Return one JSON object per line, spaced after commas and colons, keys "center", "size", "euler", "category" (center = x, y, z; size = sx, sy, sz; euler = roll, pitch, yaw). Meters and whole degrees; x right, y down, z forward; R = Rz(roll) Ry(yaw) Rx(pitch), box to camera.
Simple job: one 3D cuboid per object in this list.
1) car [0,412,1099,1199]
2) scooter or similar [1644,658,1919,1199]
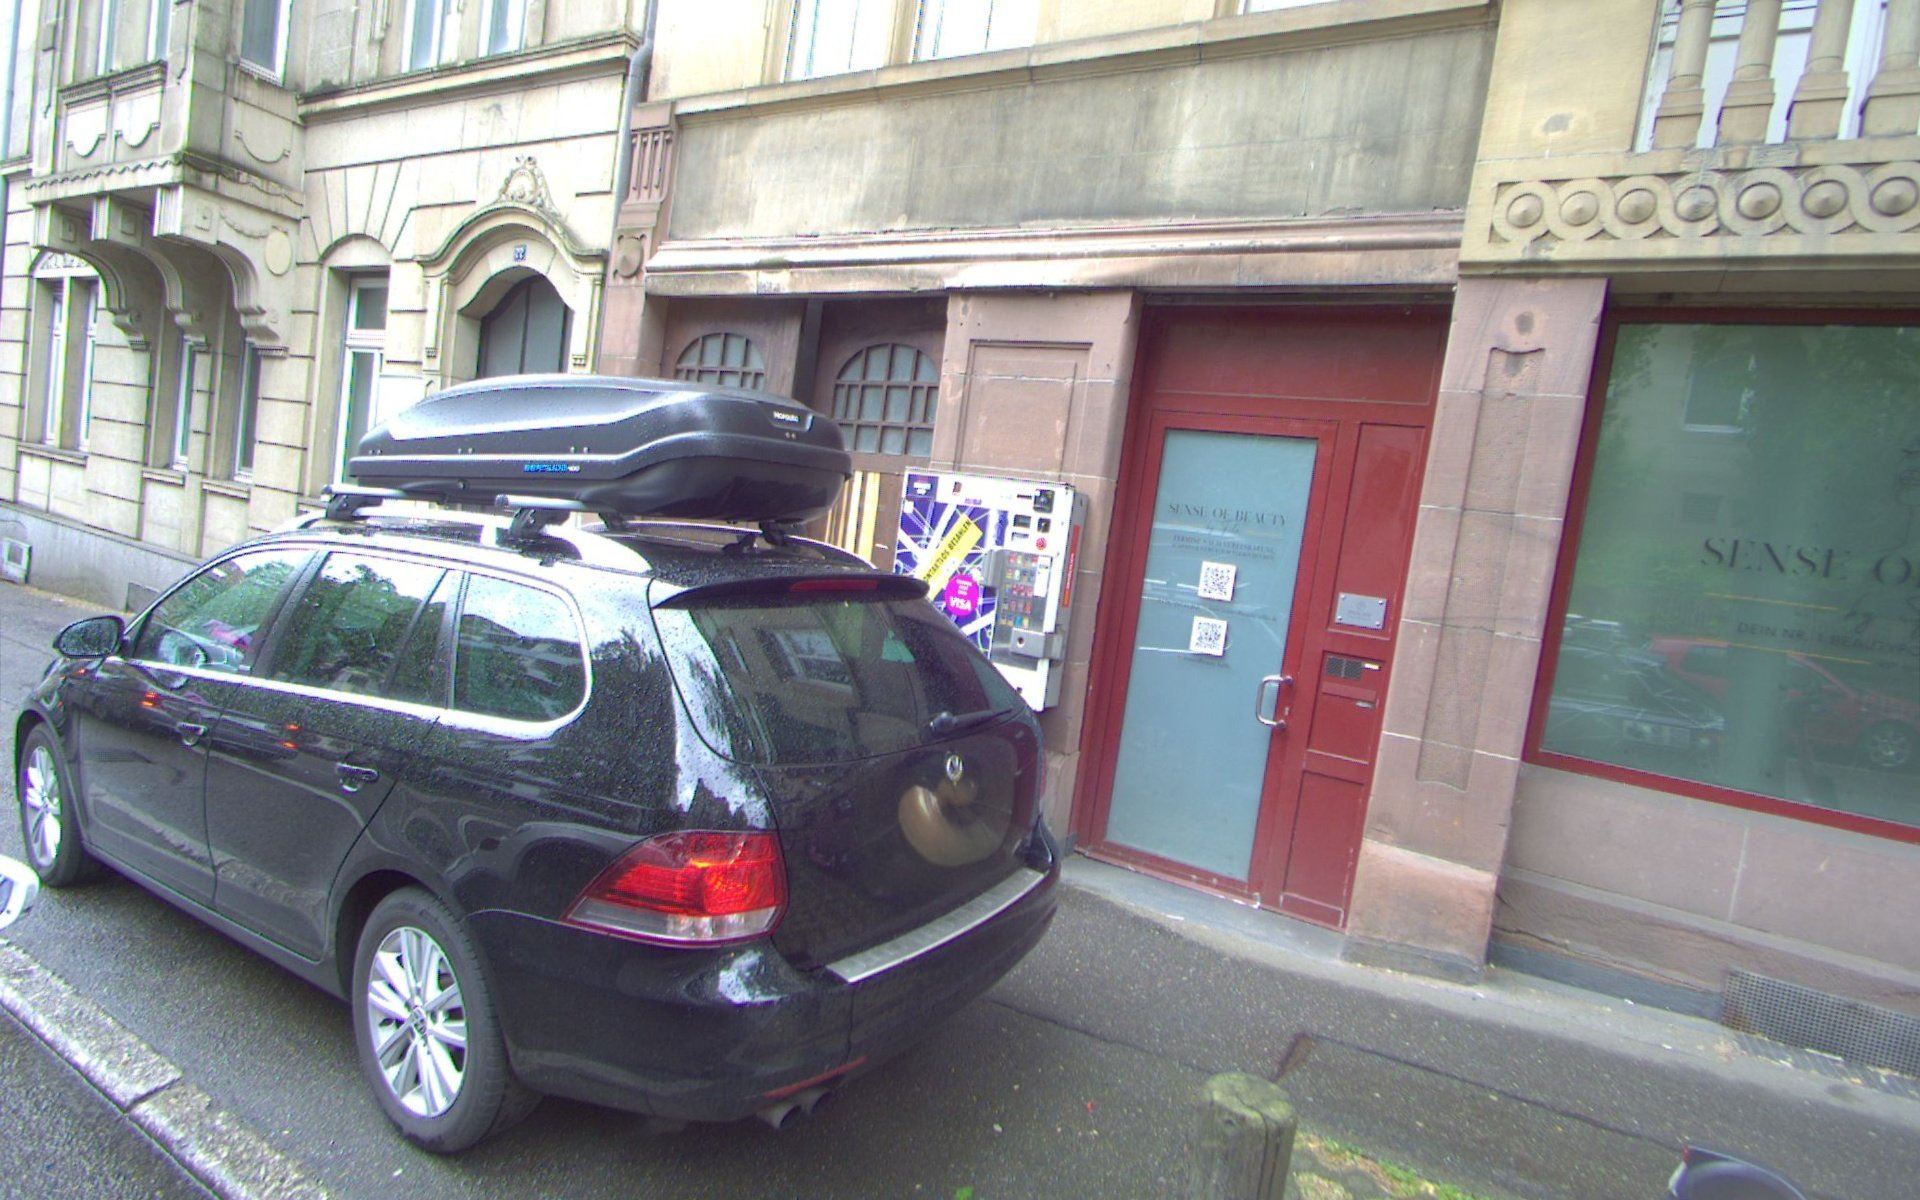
{"center": [-1.792, 0.324, 3.464], "size": [4.031, 1.675, 1.757], "euler": [7, 6, 32], "category": "car"}
{"center": [2.146, 0.860, 1.948], "size": [1.183, 1.336, 0.593], "euler": [7, 3, 32], "category": "scooter or similar"}
